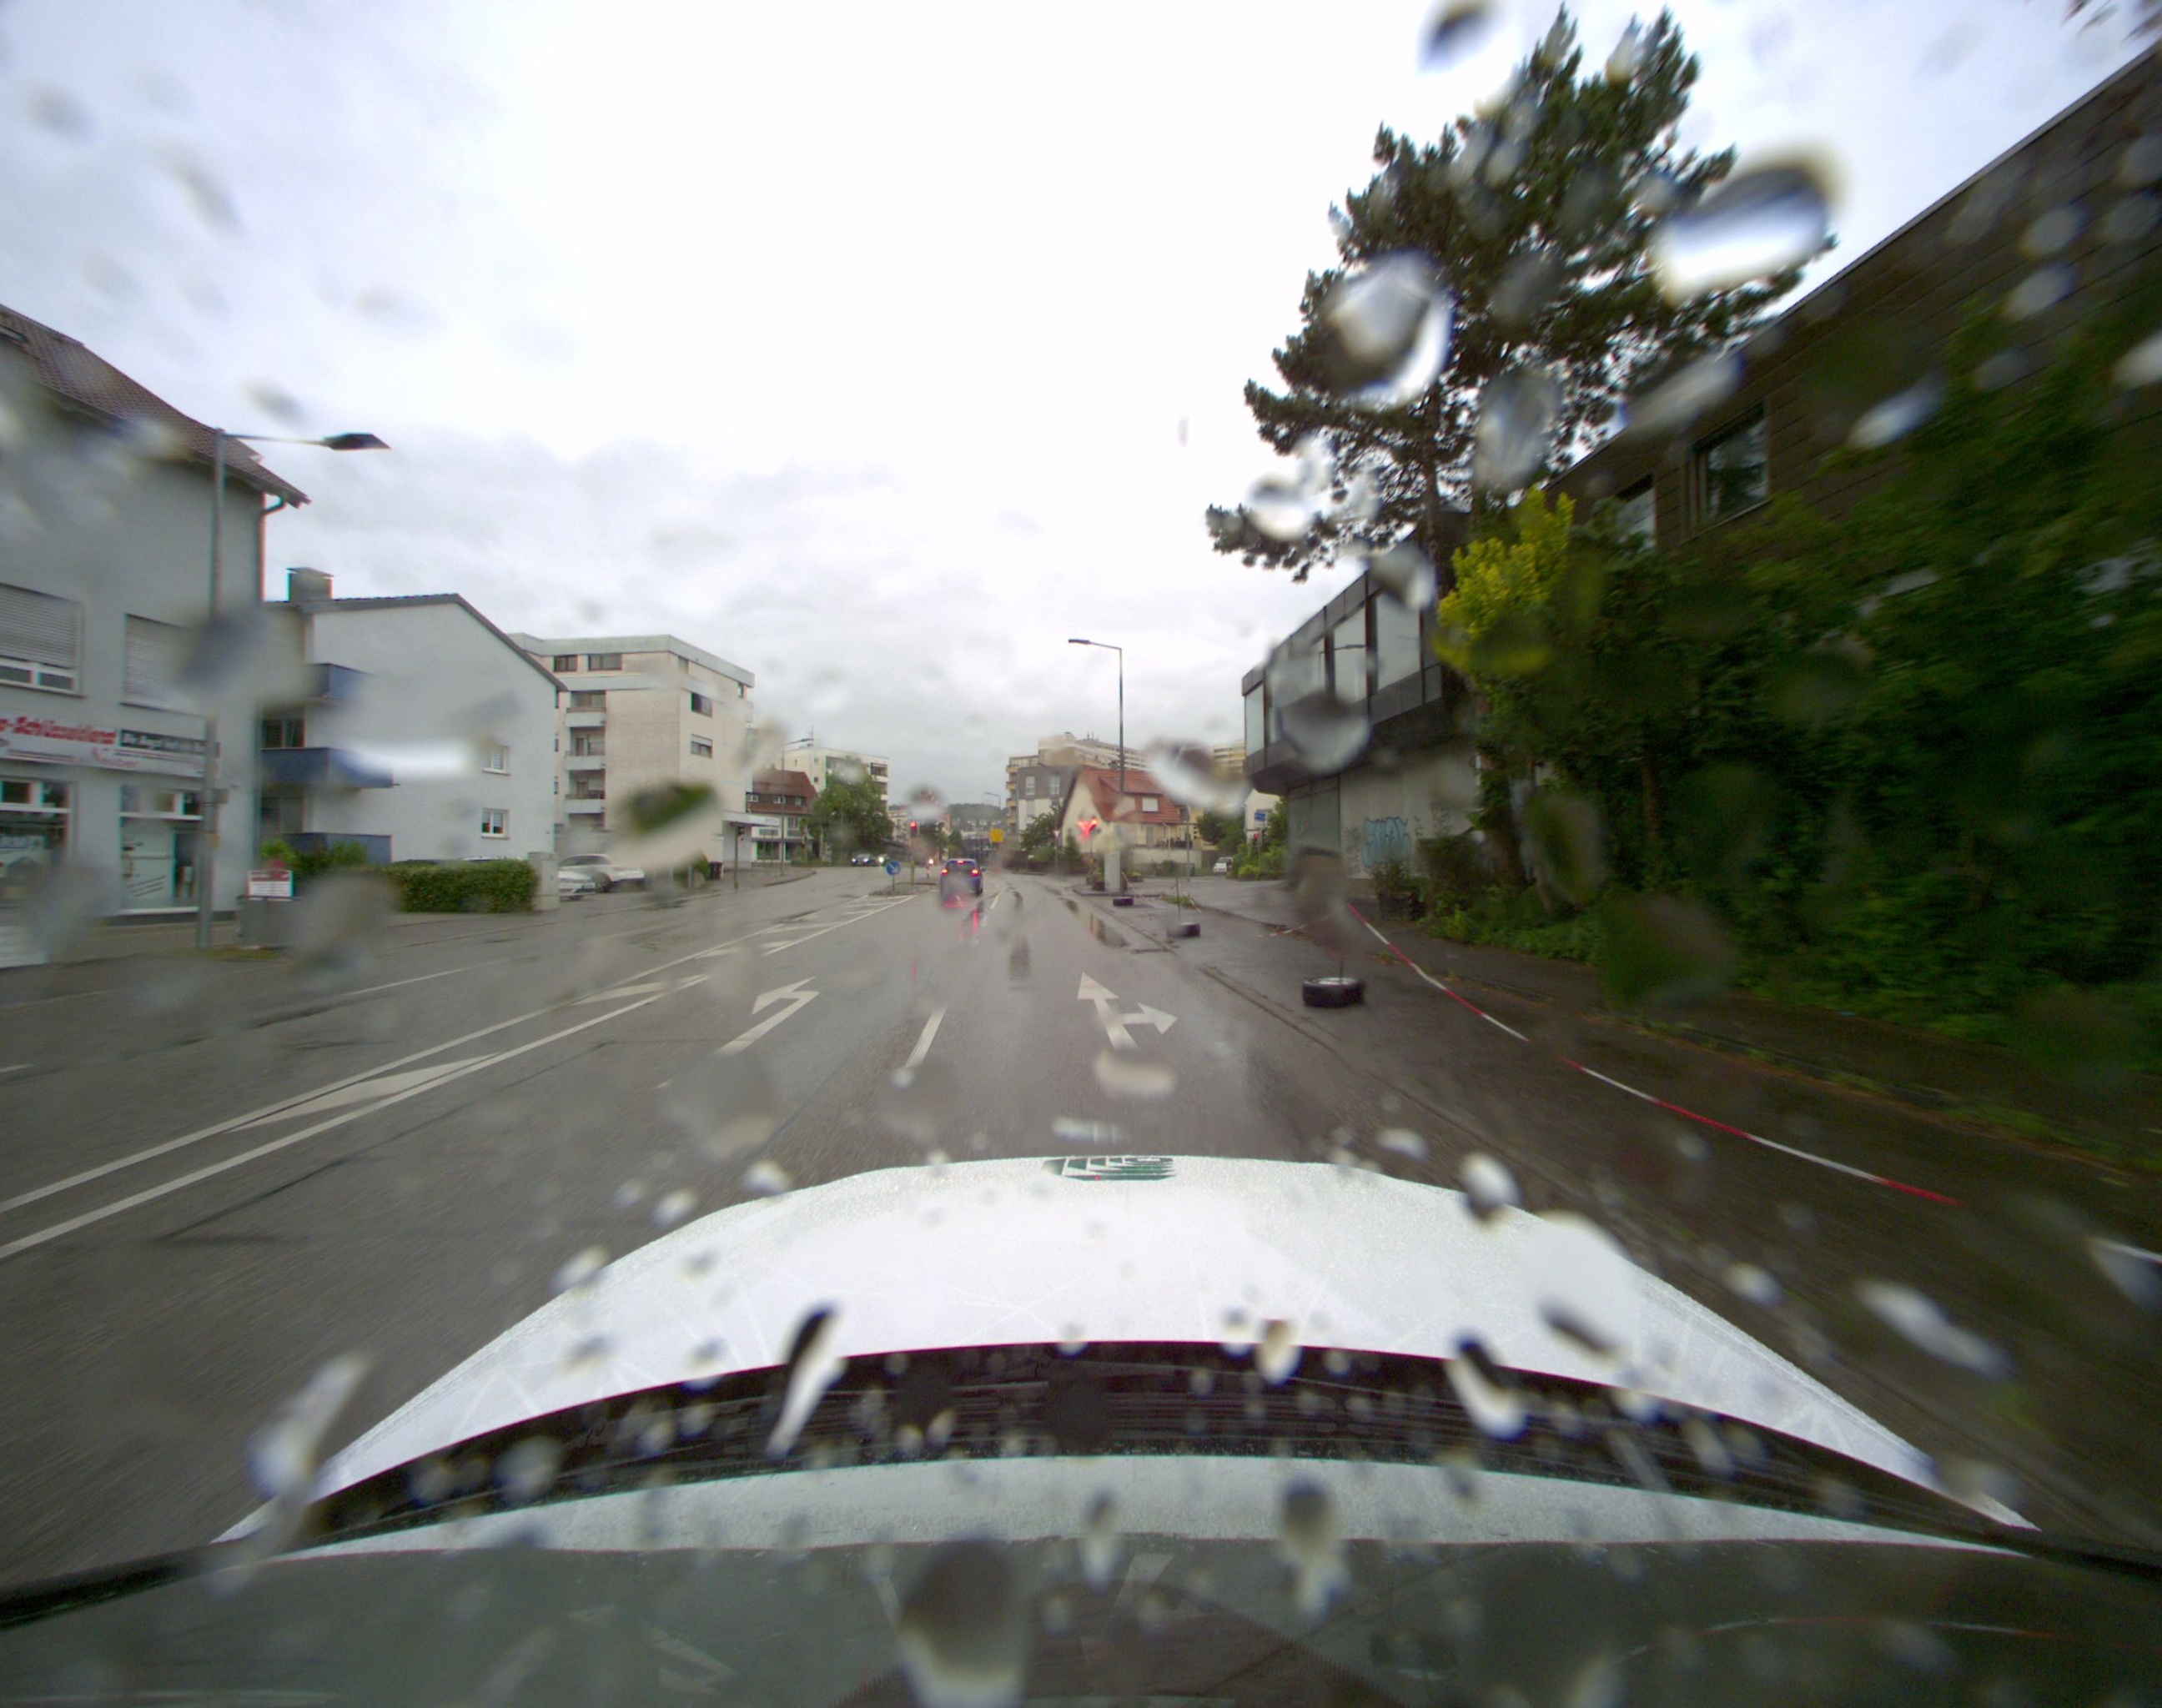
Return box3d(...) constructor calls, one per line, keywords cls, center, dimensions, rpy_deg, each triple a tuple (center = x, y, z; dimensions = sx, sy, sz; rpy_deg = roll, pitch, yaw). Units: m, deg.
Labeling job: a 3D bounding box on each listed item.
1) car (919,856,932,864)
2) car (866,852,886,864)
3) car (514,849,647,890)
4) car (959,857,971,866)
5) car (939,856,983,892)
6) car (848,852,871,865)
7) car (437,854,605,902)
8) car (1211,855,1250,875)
box3d(cls="car", center=(-26.497, 0.993, 139.282), dimensions=(1.776, 1.420, 3.824), rpy_deg=(0, 0, -5))
box3d(cls="car", center=(-24.474, 0.450, 97.306), dimensions=(1.712, 1.387, 4.013), rpy_deg=(0, 0, -5))
box3d(cls="car", center=(-20.963, 0.648, 34.184), dimensions=(4.429, 1.637, 1.942), rpy_deg=(0, 0, 5))
box3d(cls="car", center=(-20.913, 1.355, 146.594), dimensions=(1.809, 1.486, 4.183), rpy_deg=(-1, 0, -4))
box3d(cls="car", center=(-4.938, 0.785, 33.888), dimensions=(1.576, 1.411, 3.265), rpy_deg=(0, 0, -4))
box3d(cls="car", center=(-24.528, 0.462, 90.119), dimensions=(1.776, 1.420, 3.824), rpy_deg=(0, 0, -5))
box3d(cls="car", center=(-18.375, 0.764, 26.858), dimensions=(4.205, 1.474, 1.905), rpy_deg=(0, 0, 0))
box3d(cls="car", center=(11.923, 0.879, 64.807), dimensions=(1.723, 1.514, 4.025), rpy_deg=(0, 0, 32))
